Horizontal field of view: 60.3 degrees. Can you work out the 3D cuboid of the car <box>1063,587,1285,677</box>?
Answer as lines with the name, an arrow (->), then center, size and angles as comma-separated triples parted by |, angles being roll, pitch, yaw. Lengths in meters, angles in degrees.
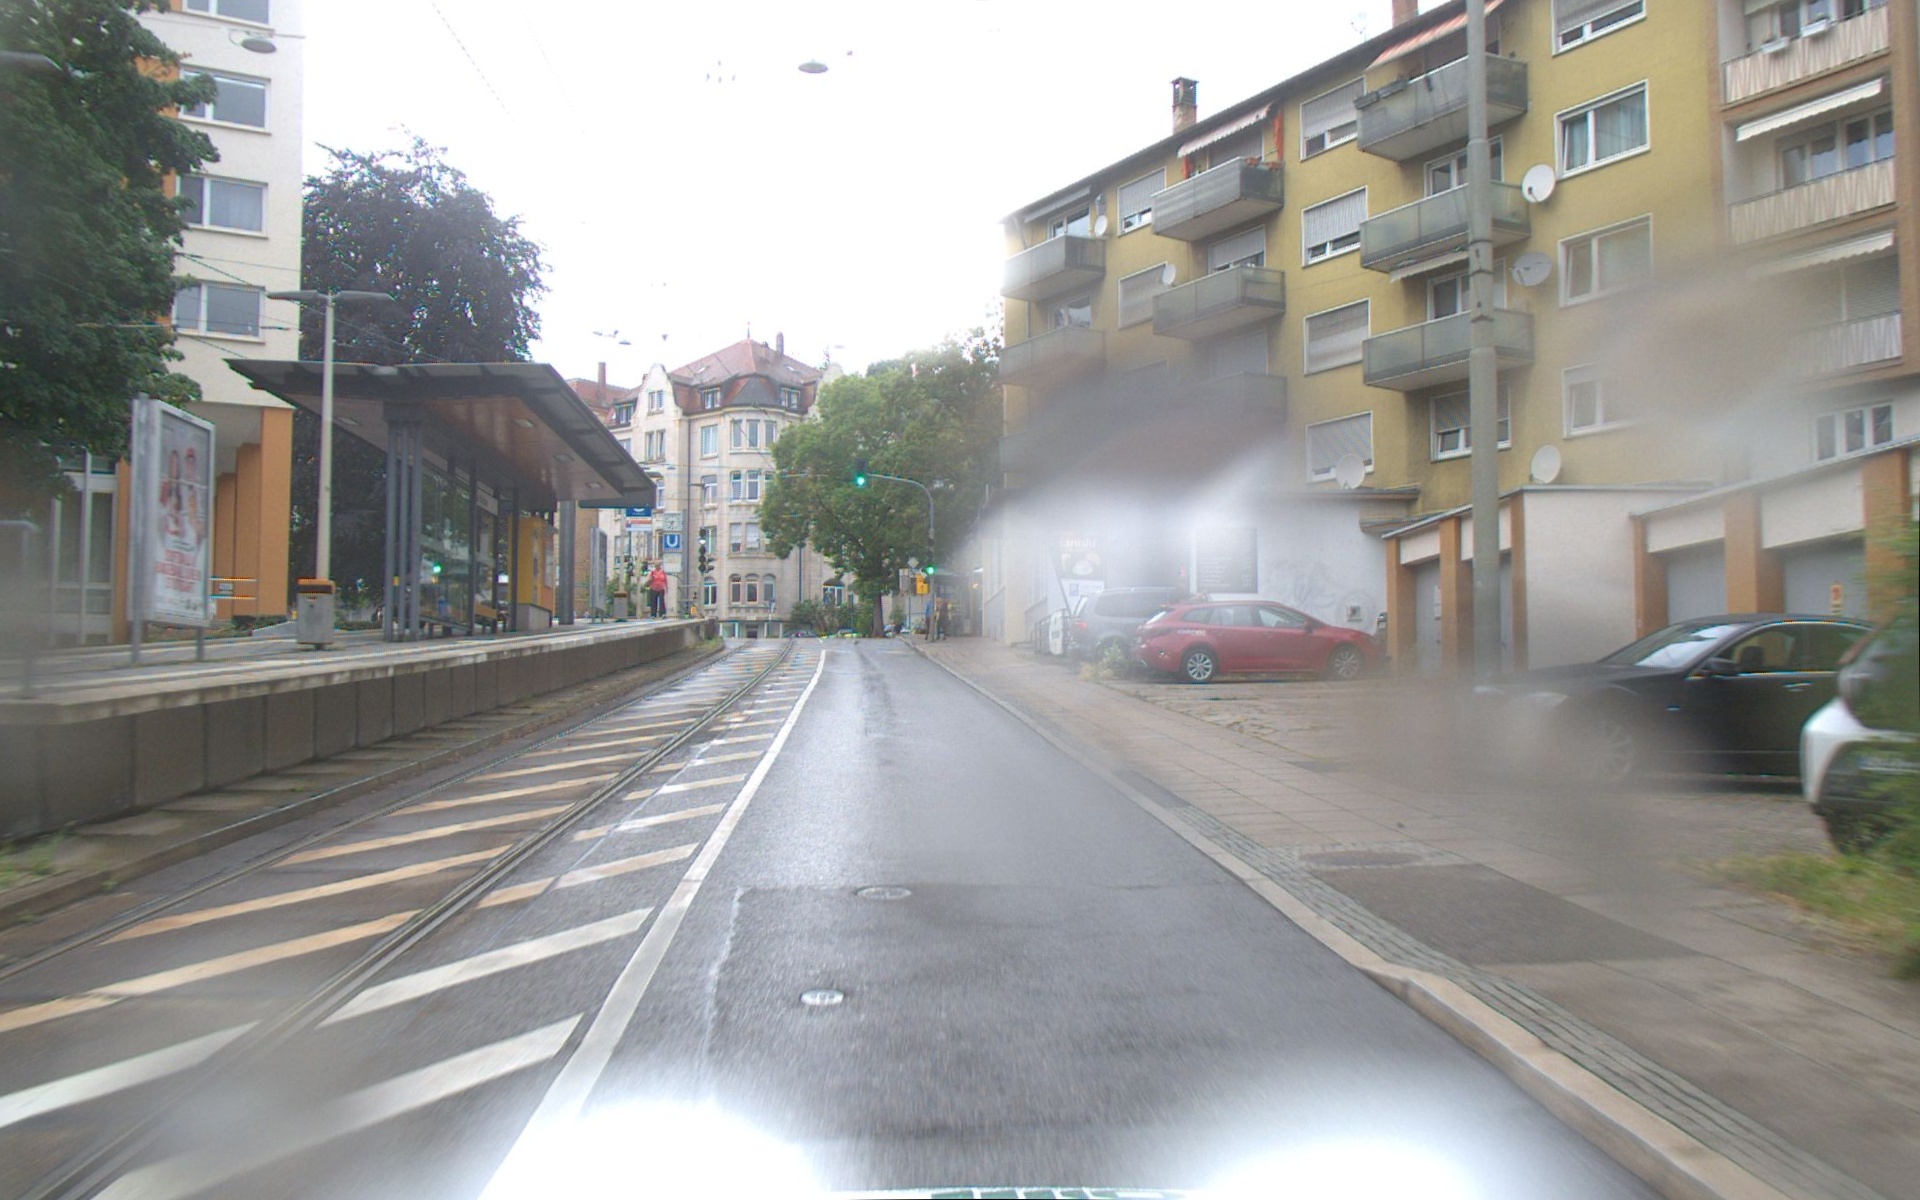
car -> 4.323, 0.650, 33.769 | 4.241, 1.703, 1.779 | -1, -1, -2

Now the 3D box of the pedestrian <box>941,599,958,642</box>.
pedestrian -> -0.395, 0.752, 60.815 | 0.535, 1.581, 0.558 | -2, -1, -7

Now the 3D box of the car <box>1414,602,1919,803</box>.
car -> 6.680, 0.863, 14.432 | 4.834, 1.461, 1.973 | 2, 1, -4

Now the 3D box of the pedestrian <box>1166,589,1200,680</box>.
pedestrian -> 4.361, 0.673, 32.337 | 0.593, 1.744, 0.722 | -2, 0, 9

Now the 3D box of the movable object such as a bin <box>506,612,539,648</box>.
movable object such as a bin -> -18.346, 1.239, 69.454 | 1.000, 1.459, 1.426 | 2, -1, -2

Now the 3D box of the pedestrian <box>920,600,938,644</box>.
pedestrian -> -1.129, 0.810, 60.325 | 0.576, 1.581, 0.649 | -2, -1, -5

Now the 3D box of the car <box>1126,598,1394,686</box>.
car -> 5.396, 0.756, 30.081 | 4.479, 1.463, 1.763 | -1, -1, -5

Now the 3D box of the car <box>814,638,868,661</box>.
car -> -8.436, 3.494, 117.367 | 1.708, 1.534, 3.646 | -3, -2, 43

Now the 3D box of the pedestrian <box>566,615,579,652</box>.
pedestrian -> -18.687, 1.618, 79.849 | 0.558, 1.714, 0.773 | -1, -2, -12

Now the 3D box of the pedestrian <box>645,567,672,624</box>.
pedestrian -> -8.457, -0.119, 46.439 | 0.658, 1.575, 0.770 | 0, 0, -5
